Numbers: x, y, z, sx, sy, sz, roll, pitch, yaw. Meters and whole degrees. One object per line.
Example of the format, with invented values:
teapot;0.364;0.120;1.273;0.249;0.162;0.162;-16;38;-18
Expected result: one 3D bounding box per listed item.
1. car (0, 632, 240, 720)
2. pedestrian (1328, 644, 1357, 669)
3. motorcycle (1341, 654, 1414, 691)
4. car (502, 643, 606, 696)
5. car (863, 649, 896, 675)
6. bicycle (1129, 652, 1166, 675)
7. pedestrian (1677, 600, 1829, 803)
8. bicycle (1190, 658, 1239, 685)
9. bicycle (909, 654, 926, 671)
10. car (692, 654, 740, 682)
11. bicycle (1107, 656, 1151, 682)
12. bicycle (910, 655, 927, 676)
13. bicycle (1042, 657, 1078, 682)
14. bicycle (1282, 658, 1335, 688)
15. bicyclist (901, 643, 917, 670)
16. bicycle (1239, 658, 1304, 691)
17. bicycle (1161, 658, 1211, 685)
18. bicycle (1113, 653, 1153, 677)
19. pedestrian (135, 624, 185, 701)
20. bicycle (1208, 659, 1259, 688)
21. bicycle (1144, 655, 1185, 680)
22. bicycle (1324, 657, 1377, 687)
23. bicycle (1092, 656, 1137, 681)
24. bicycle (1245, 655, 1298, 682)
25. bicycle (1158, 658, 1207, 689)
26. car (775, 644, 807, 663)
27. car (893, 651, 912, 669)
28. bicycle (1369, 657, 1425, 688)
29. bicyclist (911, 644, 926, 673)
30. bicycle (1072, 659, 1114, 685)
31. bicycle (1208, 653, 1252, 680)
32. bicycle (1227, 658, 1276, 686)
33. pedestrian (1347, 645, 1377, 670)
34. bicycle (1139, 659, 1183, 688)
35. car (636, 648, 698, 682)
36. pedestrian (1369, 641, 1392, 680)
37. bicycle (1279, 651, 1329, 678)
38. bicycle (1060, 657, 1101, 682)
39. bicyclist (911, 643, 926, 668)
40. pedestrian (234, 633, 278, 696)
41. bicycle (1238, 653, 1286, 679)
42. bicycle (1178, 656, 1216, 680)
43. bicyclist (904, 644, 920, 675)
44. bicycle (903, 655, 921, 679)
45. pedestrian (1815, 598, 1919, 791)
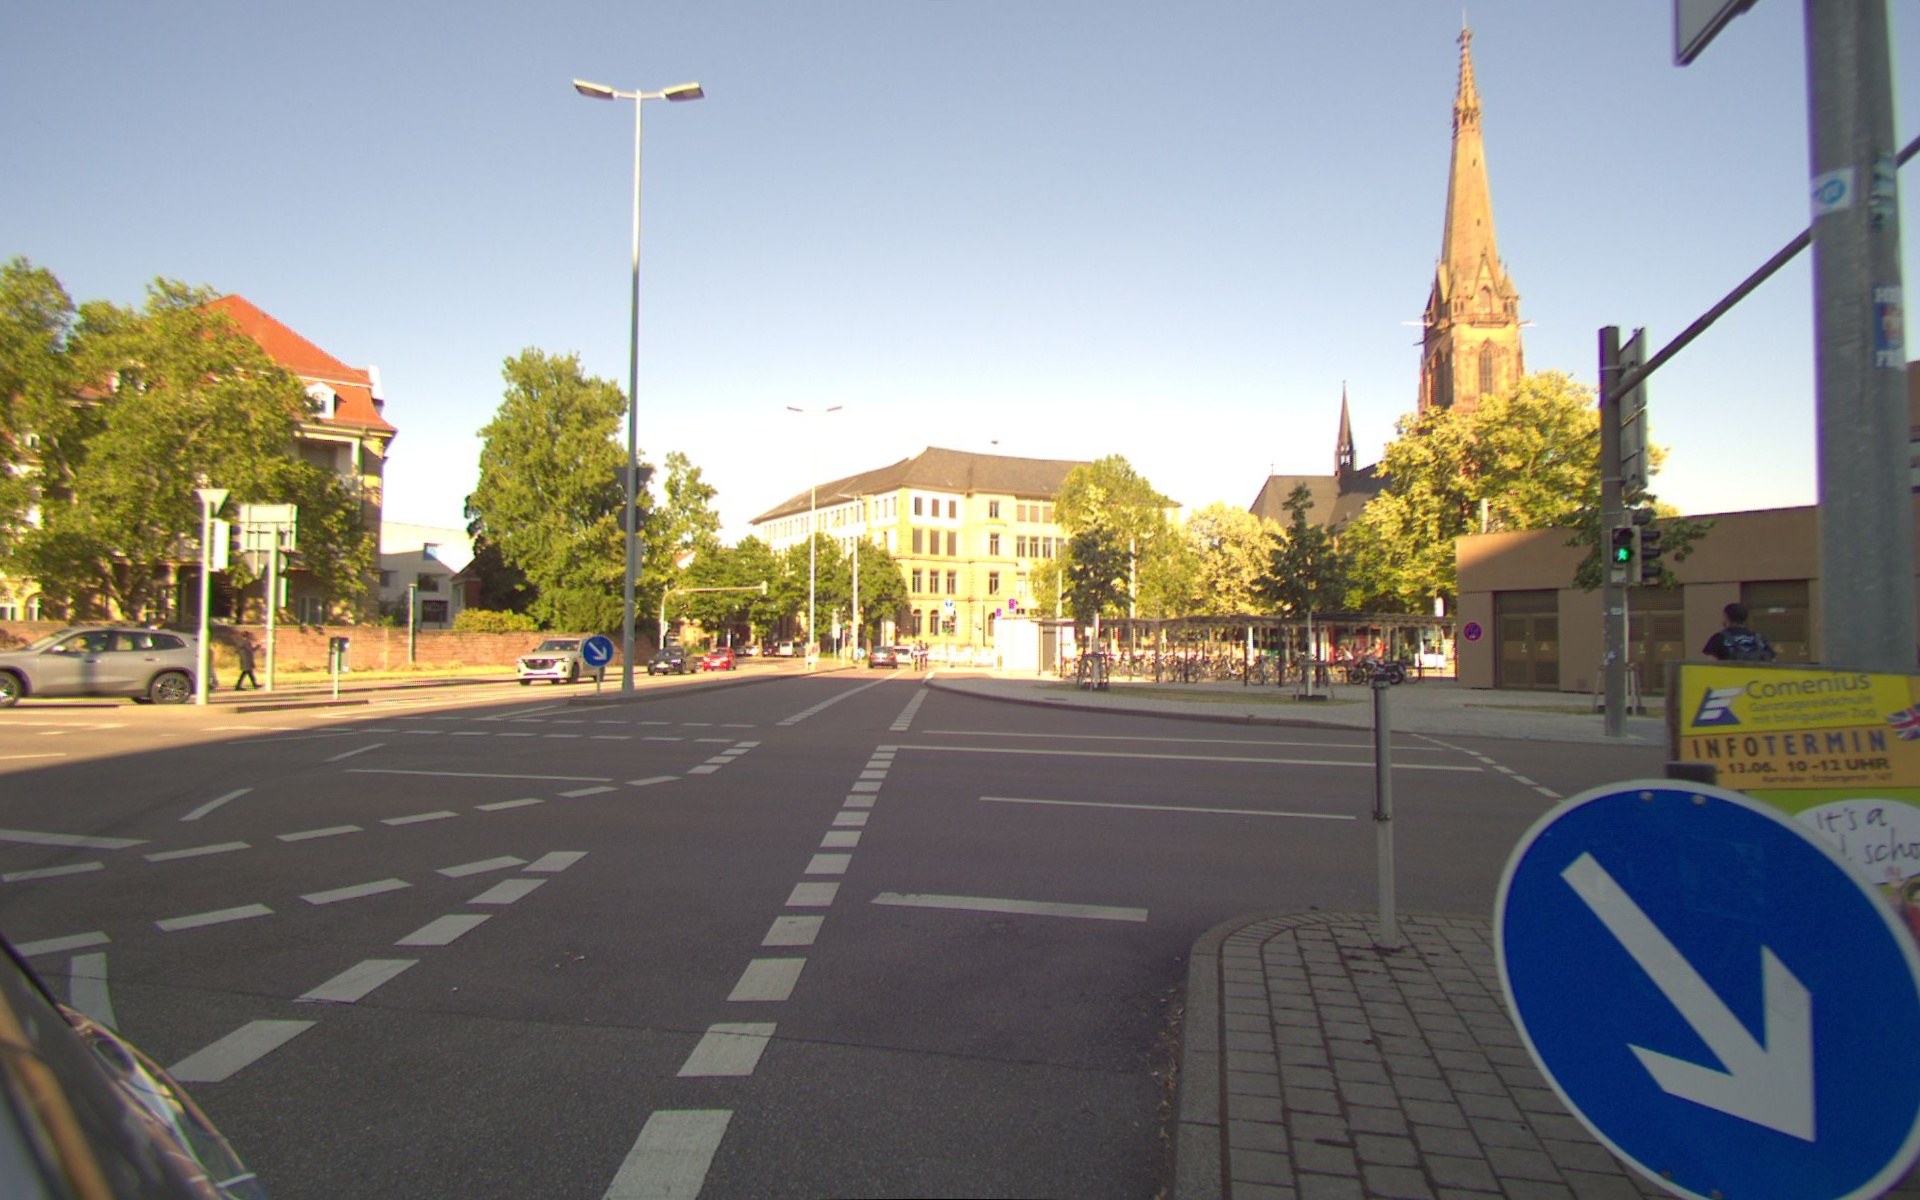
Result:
car;-17.664;1.497;20.670;2.151;1.633;4.311;-2;-3;34
pedestrian;21.218;3.119;56.141;1.035;1.360;1.082;0;-3;-33
motorcycle;14.882;2.571;36.170;0.707;1.257;2.363;0;-3;-34
car;-14.473;2.431;36.370;2.162;1.697;4.610;-2;-3;-4
car;-5.003;3.857;63.506;1.781;1.455;3.978;-1;-1;0
bicycle;9.332;3.170;50.498;0.489;1.062;1.977;0;-2;-39
pedestrian;7.023;0.874;9.019;0.742;1.698;0.894;-1;-3;18
bicycle;10.792;3.014;42.991;0.755;1.051;1.936;0;-2;-38
bicycle;-2.853;4.244;68.429;0.871;1.106;2.185;0;-3;5
car;-15.260;4.211;63.474;2.162;1.598;4.610;-2;-3;-4
bicycle;7.561;3.079;45.309;0.746;1.062;1.978;0;-2;-35
bicycle;-2.441;3.841;59.566;0.755;1.196;2.603;-2;-3;2
bicycle;4.456;3.102;45.294;0.557;1.062;1.979;0;-2;-30
bicycle;13.061;2.717;37.966;0.515;1.051;1.851;0;-2;-40
bicyclist;-3.249;3.570;64.244;0.855;1.666;0.942;0;-3;6
bicycle;11.088;2.657;36.121;0.733;1.114;2.128;0;-3;-39
bicycle;9.468;2.986;42.393;0.852;1.051;1.936;0;-2;-38
bicycle;8.364;3.136;48.975;0.503;1.062;1.975;0;-2;-43
pedestrian;-20.472;1.605;25.883;0.859;1.908;0.714;5;-3;-41
bicycle;10.947;2.935;40.588;0.594;1.051;2.039;0;-2;-35
bicycle;9.545;3.139;47.204;0.558;1.062;1.977;0;-2;-38
bicycle;15.113;2.779;39.190;0.514;1.051;1.936;0;-2;-36
bicycle;7.360;3.249;48.169;0.824;1.062;2.124;0;-2;-37
bicycle;12.968;2.830;42.199;0.594;1.051;2.112;0;-2;-37
bicycle;8.665;2.858;39.475;0.558;1.114;1.978;0;-2;-35
car;-20.717;6.547;124.192;1.988;2.029;4.119;-1;1;24
car;-4.457;4.644;78.458;1.364;1.348;3.504;0;-3;-1
bicycle;16.225;2.682;37.578;0.514;1.051;1.852;0;-2;-39
bicyclist;-2.455;3.441;59.575;0.755;1.681;1.061;-2;-3;2
bicycle;5.803;3.143;44.157;0.558;1.062;1.977;0;-2;-38
bicycle;11.721;2.865;43.950;0.528;1.097;1.936;0;-2;-36
bicycle;11.847;2.920;41.219;0.594;1.051;2.040;0;-2;-32
pedestrian;22.394;3.199;56.404;1.035;1.360;1.082;0;-3;-33
bicycle;8.103;2.969;40.902;0.478;1.114;1.803;0;-2;-41
car;-15.014;3.294;52.123;2.162;1.598;4.610;-2;-3;-4
pedestrian;22.663;3.248;54.558;1.023;2.029;1.126;-3;-3;22
bicycle;14.838;2.753;43.670;0.557;1.097;2.076;0;-2;-36
bicycle;5.523;3.193;46.421;0.671;1.062;2.028;0;-2;-35
bicyclist;-2.824;3.757;68.470;0.856;1.666;0.941;-1;-3;10
pedestrian;-19.451;1.789;27.978;0.713;1.665;0.781;1;-3;45
bicycle;13.127;2.857;44.016;0.557;1.097;2.076;0;-2;-36
bicycle;11.322;3.243;48.342;0.411;1.062;1.978;0;-2;-34
bicyclist;-2.657;3.294;55.954;0.755;1.681;1.061;-2;-3;2
bicycle;-2.635;3.693;55.915;0.755;1.196;2.603;-2;-3;2
pedestrian;8.890;0.875;9.647;0.781;1.754;0.922;-1;-3;18
